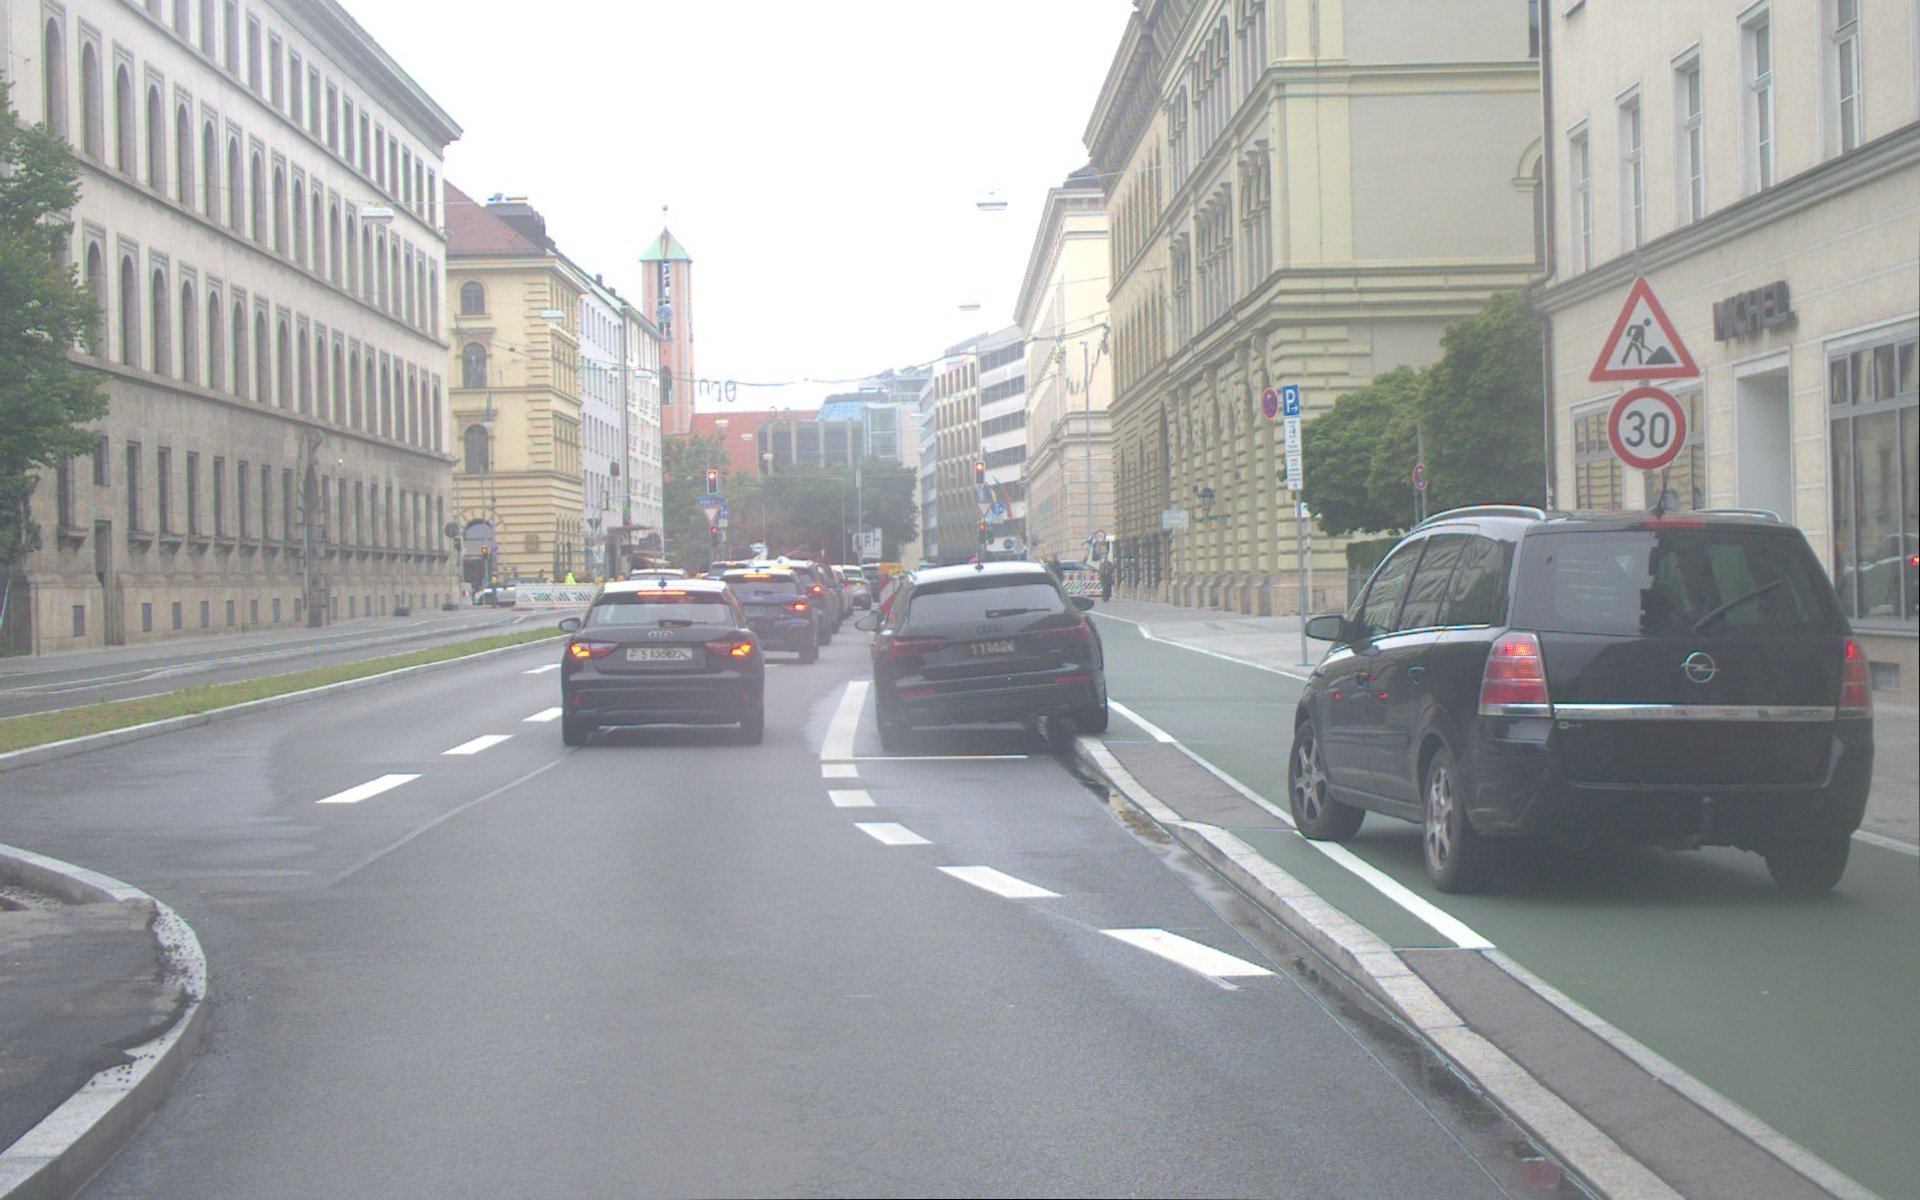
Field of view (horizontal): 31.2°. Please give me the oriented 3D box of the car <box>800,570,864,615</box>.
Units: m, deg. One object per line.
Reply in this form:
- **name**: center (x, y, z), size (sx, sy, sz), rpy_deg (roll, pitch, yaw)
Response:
- **car**: center (-4.305, -0.272, 116.246), size (1.993, 1.439, 4.000), rpy_deg (-1, 1, 0)

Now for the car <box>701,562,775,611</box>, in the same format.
- **car**: center (-6.807, -0.439, 105.705), size (1.993, 1.439, 4.000), rpy_deg (-1, 1, 0)

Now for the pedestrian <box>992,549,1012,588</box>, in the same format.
- **pedestrian**: center (1.770, -1.325, 145.246), size (0.752, 1.612, 0.712), rpy_deg (-1, 1, 8)

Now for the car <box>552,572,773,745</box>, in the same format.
- **car**: center (-2.566, 0.471, 30.388), size (1.730, 1.398, 4.000), rpy_deg (0, 1, -2)

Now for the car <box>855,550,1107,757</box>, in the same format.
- **car**: center (0.098, 0.388, 29.243), size (1.808, 1.475, 4.463), rpy_deg (-5, 1, -2)

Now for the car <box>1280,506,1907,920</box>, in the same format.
- **car**: center (2.673, 0.412, 15.469), size (1.764, 1.610, 4.030), rpy_deg (0, 1, -5)

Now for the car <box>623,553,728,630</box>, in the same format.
- **car**: center (-6.256, -0.209, 75.927), size (1.993, 1.622, 4.000), rpy_deg (-1, 1, 0)

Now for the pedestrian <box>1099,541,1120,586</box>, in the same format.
- **pedestrian**: center (5.440, -1.343, 125.158), size (0.710, 1.612, 0.754), rpy_deg (-1, 1, -1)

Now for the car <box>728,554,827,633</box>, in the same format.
- **car**: center (-3.437, -0.144, 65.253), size (1.730, 1.456, 4.000), rpy_deg (0, 1, -1)

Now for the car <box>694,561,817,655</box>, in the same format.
- **car**: center (-3.145, 0.097, 53.465), size (1.730, 1.398, 4.000), rpy_deg (0, 1, -1)
